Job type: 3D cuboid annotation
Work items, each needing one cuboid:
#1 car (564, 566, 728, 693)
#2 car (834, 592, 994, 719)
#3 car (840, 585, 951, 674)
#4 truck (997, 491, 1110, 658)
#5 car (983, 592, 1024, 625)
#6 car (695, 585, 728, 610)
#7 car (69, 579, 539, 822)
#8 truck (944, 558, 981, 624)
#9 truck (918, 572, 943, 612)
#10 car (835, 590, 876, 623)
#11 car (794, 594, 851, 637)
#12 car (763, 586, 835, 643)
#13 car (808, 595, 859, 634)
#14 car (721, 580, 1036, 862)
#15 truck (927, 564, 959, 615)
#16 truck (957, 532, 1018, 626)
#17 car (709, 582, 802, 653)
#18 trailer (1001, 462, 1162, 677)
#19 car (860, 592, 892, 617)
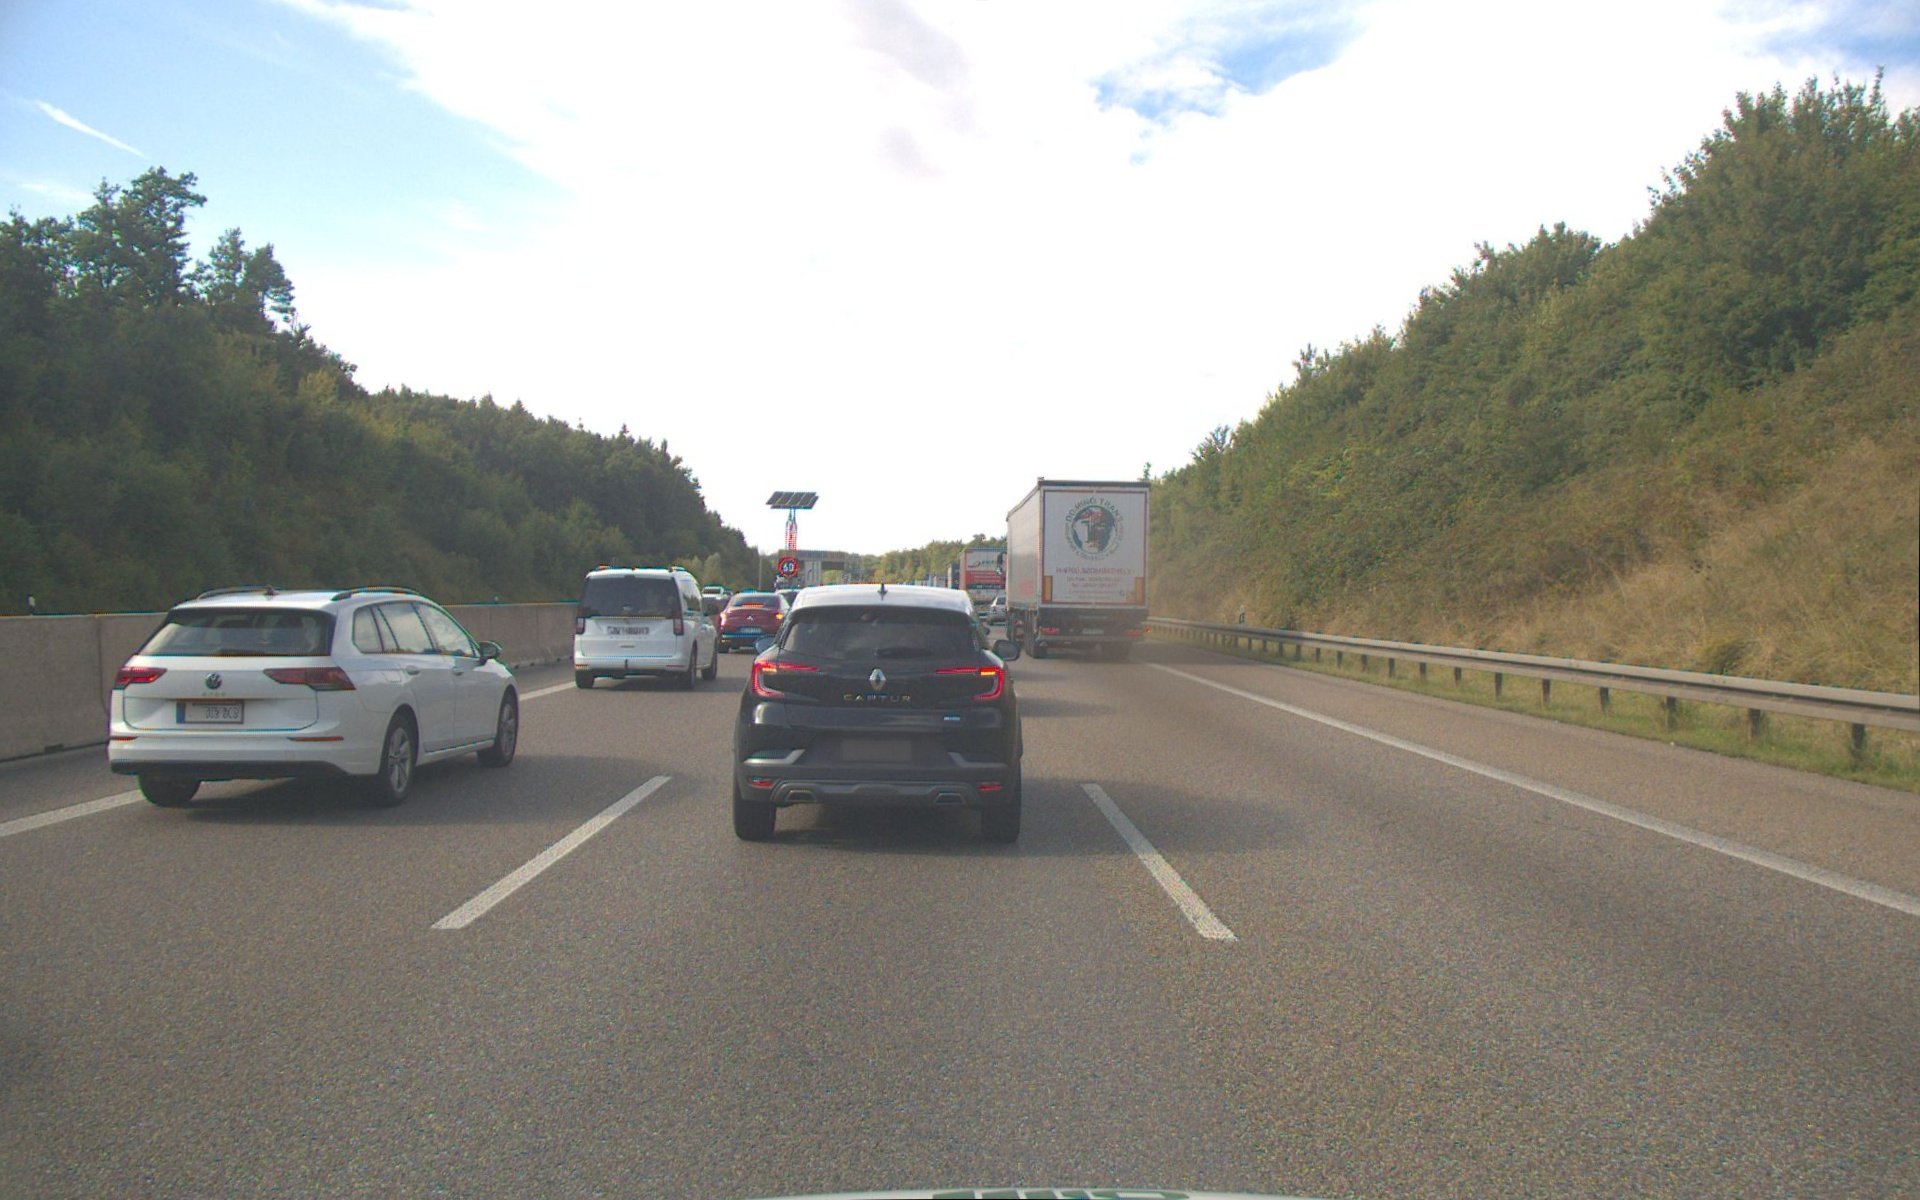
[{"bbox_3d":[-4.896,0.442,26.413,1.873,1.821,4.416,1,0,-2],"label":"car"},{"bbox_3d":[-0.579,0.695,22.411,1.953,1.540,3.999,1,0,0],"label":"car"},{"bbox_3d":[-1.165,0.534,31.392,1.953,1.540,3.999,1,0,0],"label":"car"},{"bbox_3d":[2.738,-0.735,50.081,2.936,4.749,5.938,0,0,-1],"label":"truck"},{"bbox_3d":[2.134,0.417,82.121,1.768,1.559,3.924,1,0,-2],"label":"car"},{"bbox_3d":[-18.966,-0.183,126.505,1.814,1.841,4.923,1,0,-1],"label":"car"},{"bbox_3d":[-4.592,0.628,12.354,1.767,1.486,4.308,0,0,0],"label":"car"},{"bbox_3d":[0.200,-0.776,148.060,3.102,5.601,12.736,1,0,0],"label":"truck"},{"bbox_3d":[-3.911,-1.001,223.981,3.102,5.250,12.736,1,0,0],"label":"truck"},{"bbox_3d":[-5.504,0.324,87.456,1.953,1.641,4.000,1,0,0],"label":"car"},{"bbox_3d":[-5.466,0.599,66.160,1.953,1.641,3.999,1,0,0],"label":"car"},{"bbox_3d":[-5.211,0.459,54.023,1.953,1.752,3.999,1,0,0],"label":"car"},{"bbox_3d":[-5.612,0.636,73.692,1.953,1.641,3.999,1,0,0],"label":"car"},{"bbox_3d":[-0.409,0.679,11.322,1.767,1.579,4.001,0,0,1],"label":"car"},{"bbox_3d":[-1.904,-1.085,188.791,3.101,5.601,12.739,1,0,1],"label":"truck"},{"bbox_3d":[1.485,-1.149,97.626,3.296,5.132,12.736,1,0,0],"label":"truck"},{"bbox_3d":[-5.055,0.426,41.350,1.817,1.669,3.925,1,0,0],"label":"car"},{"bbox_3d":[2.866,-0.711,43.379,2.941,4.742,13.287,1,0,-1],"label":"trailer"},{"bbox_3d":[-5.556,0.279,110.201,1.953,1.641,4.000,1,0,0],"label":"car"}]
